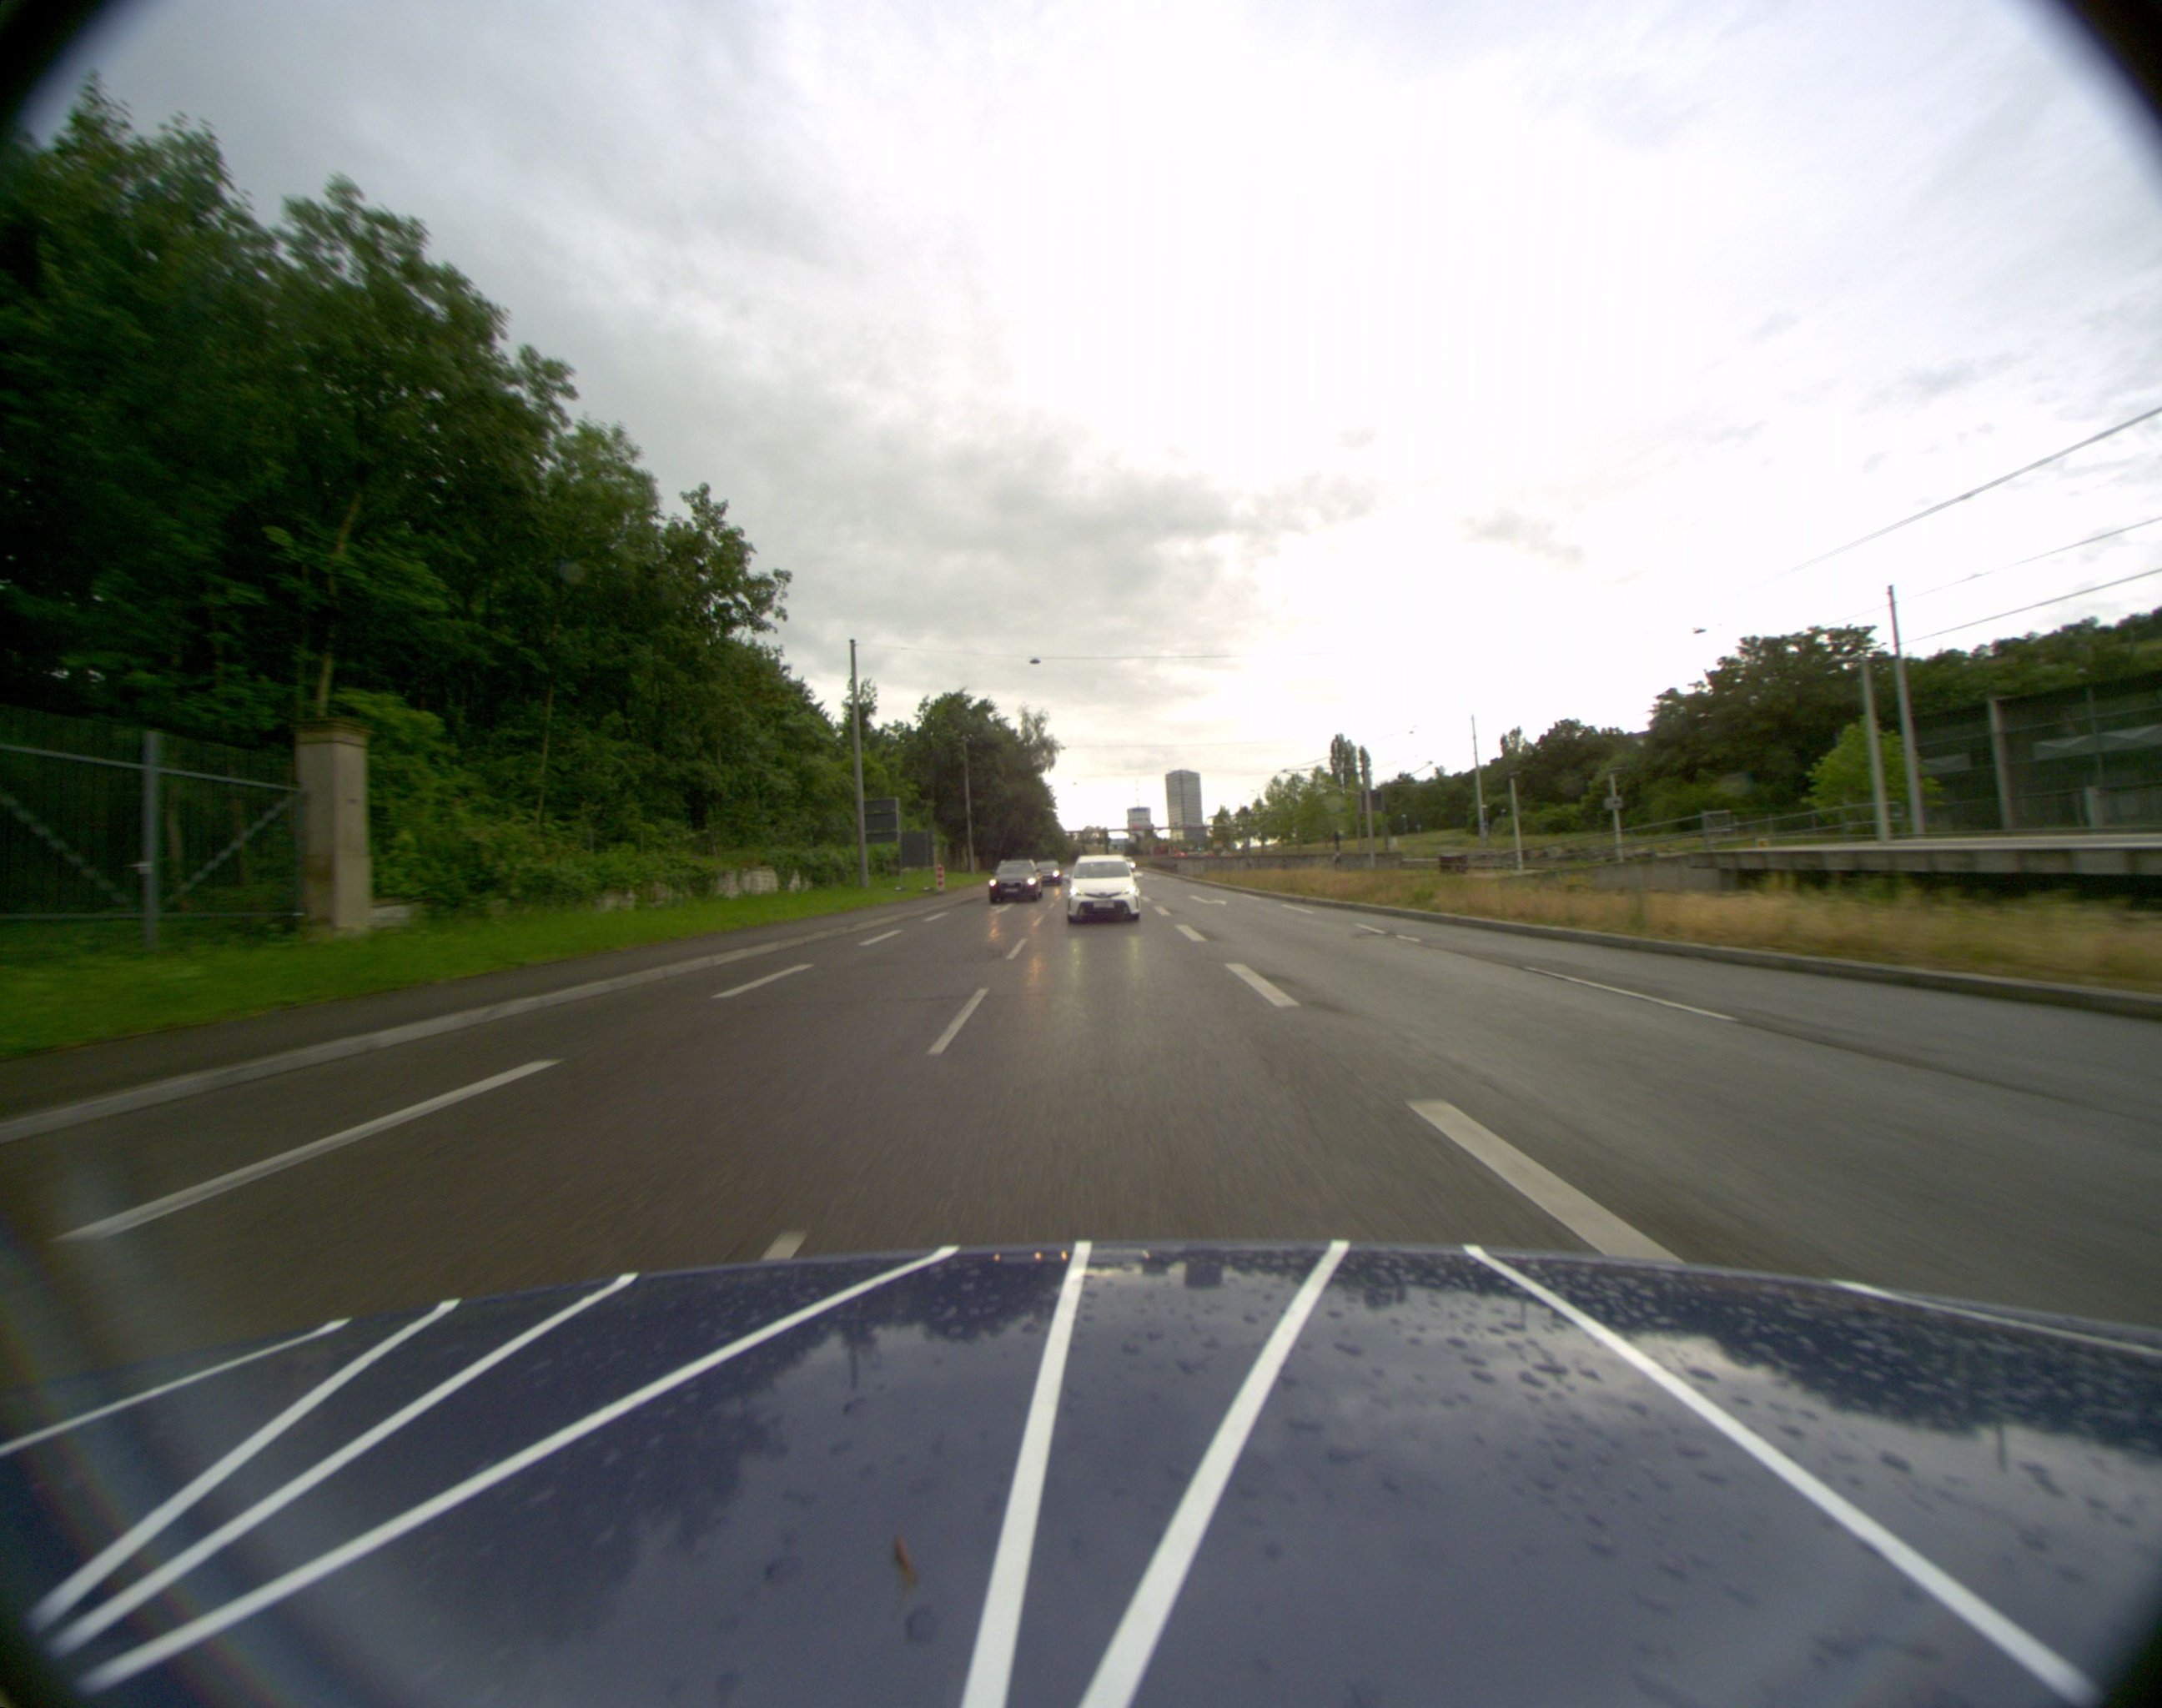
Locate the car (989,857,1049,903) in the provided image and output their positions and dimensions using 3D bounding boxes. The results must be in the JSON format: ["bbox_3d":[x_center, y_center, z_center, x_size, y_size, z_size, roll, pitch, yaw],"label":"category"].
[{"bbox_3d":[-2.365,0.963,29.796,1.856,1.578,4.000,-3,0,1],"label":"car"}]

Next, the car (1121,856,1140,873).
[{"bbox_3d":[4.895,1.005,75.470,1.738,1.578,4.000,-3,0,1],"label":"car"}]

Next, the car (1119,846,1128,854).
[{"bbox_3d":[8.934,-0.813,158.424,1.801,1.462,4.001,-3,-1,3],"label":"car"}]

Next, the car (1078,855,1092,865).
[{"bbox_3d":[0.608,0.929,114.617,1.802,1.462,4.000,-3,-1,-2],"label":"car"}]

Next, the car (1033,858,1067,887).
[{"bbox_3d":[-1.813,1.082,46.206,1.738,1.578,4.000,-3,0,1],"label":"car"}]

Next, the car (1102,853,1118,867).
[{"bbox_3d":[3.360,0.675,89.203,1.738,1.578,4.000,-3,0,1],"label":"car"}]

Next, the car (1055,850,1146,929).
[{"bbox_3d":[0.389,0.828,19.523,1.856,1.741,3.998,-3,0,-5],"label":"car"}]
